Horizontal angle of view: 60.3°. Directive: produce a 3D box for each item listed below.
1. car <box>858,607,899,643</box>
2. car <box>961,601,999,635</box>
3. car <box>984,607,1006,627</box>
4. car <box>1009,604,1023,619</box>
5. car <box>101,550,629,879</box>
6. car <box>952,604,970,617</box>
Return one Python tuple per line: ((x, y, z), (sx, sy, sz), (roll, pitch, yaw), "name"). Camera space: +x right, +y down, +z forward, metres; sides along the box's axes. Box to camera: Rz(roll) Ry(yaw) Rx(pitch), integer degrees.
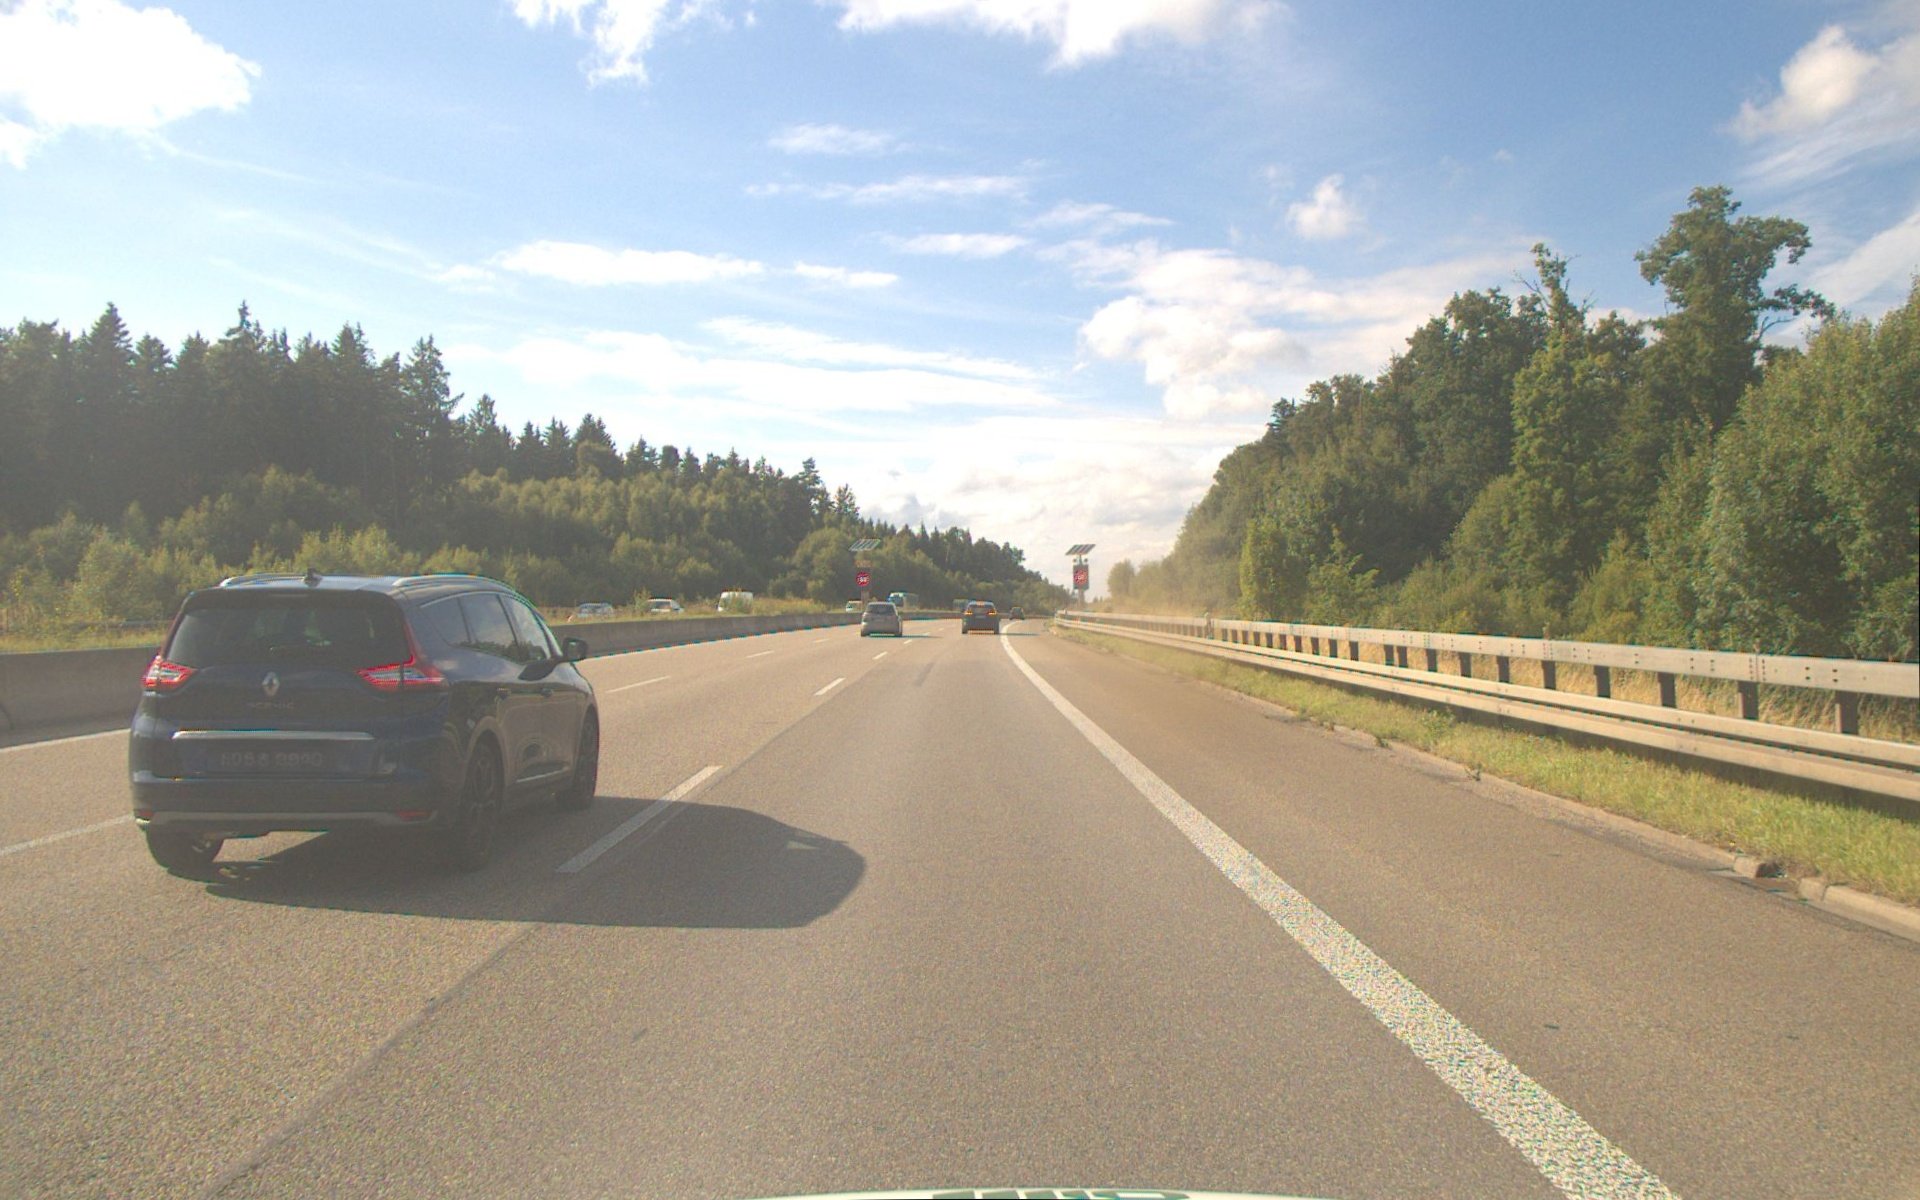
((-3.684, 1.119, 75.250), (1.836, 1.523, 3.878), (0, 0, -2), "car")
((1.012, 0.899, 85.305), (1.835, 1.704, 3.889), (0, 0, -1), "car")
((3.624, 1.773, 171.668), (1.954, 2.049, 3.998), (1, 0, -3), "car")
((6.903, 1.405, 203.460), (1.774, 1.736, 4.001), (0, 0, 2), "car")
((-3.603, 0.609, 11.036), (1.953, 1.736, 4.528), (0, 0, -1), "car")
((0.126, 1.249, 197.877), (1.834, 1.523, 3.881), (1, 0, 3), "car")
